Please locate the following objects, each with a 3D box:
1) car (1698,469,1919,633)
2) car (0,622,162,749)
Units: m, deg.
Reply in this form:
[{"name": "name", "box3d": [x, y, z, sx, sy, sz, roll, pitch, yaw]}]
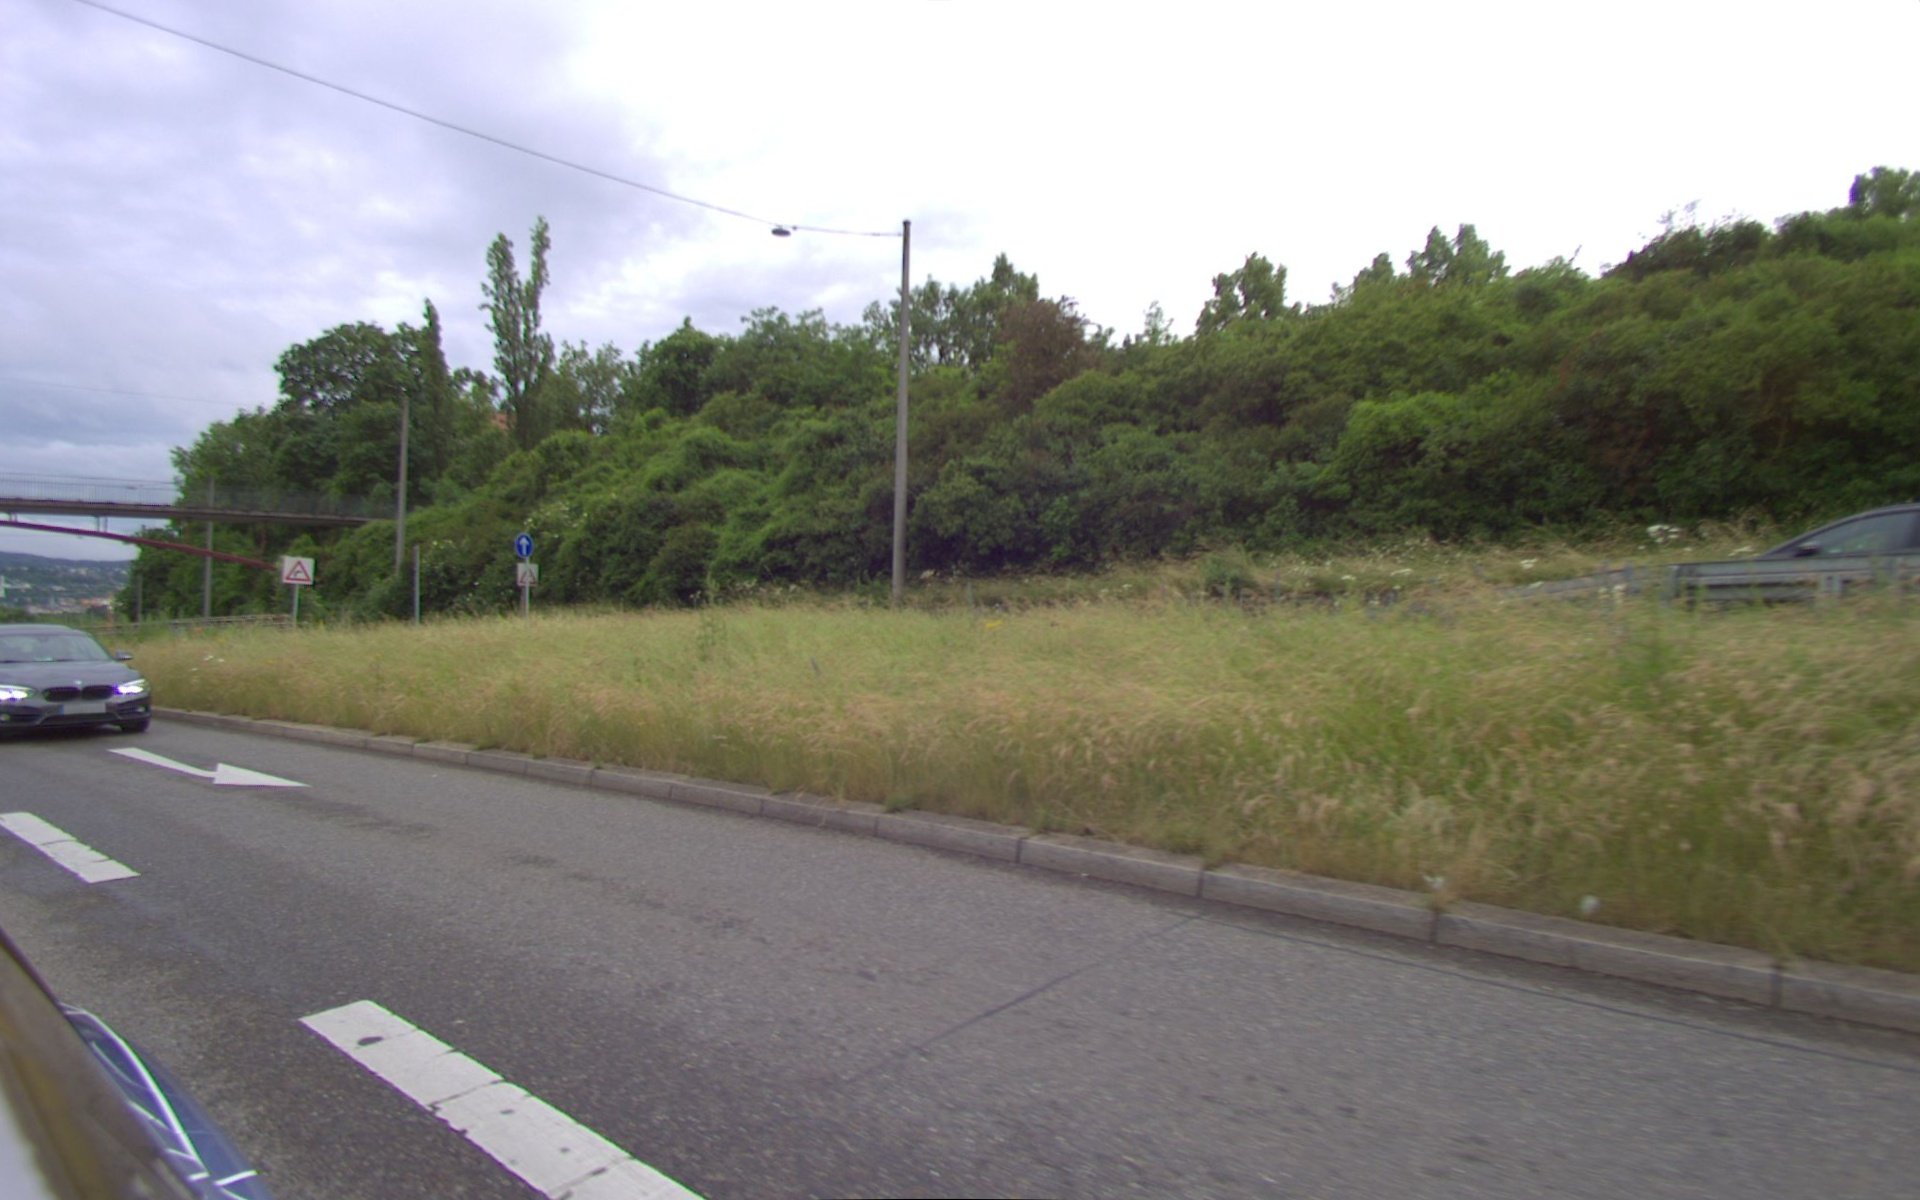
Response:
[{"name": "car", "box3d": [10.500, -0.557, 10.778, 1.692, 1.669, 4.003, -5, 2, -44]}, {"name": "car", "box3d": [-12.479, 1.061, 13.623, 3.879, 1.482, 1.710, -2, -2, 35]}]
